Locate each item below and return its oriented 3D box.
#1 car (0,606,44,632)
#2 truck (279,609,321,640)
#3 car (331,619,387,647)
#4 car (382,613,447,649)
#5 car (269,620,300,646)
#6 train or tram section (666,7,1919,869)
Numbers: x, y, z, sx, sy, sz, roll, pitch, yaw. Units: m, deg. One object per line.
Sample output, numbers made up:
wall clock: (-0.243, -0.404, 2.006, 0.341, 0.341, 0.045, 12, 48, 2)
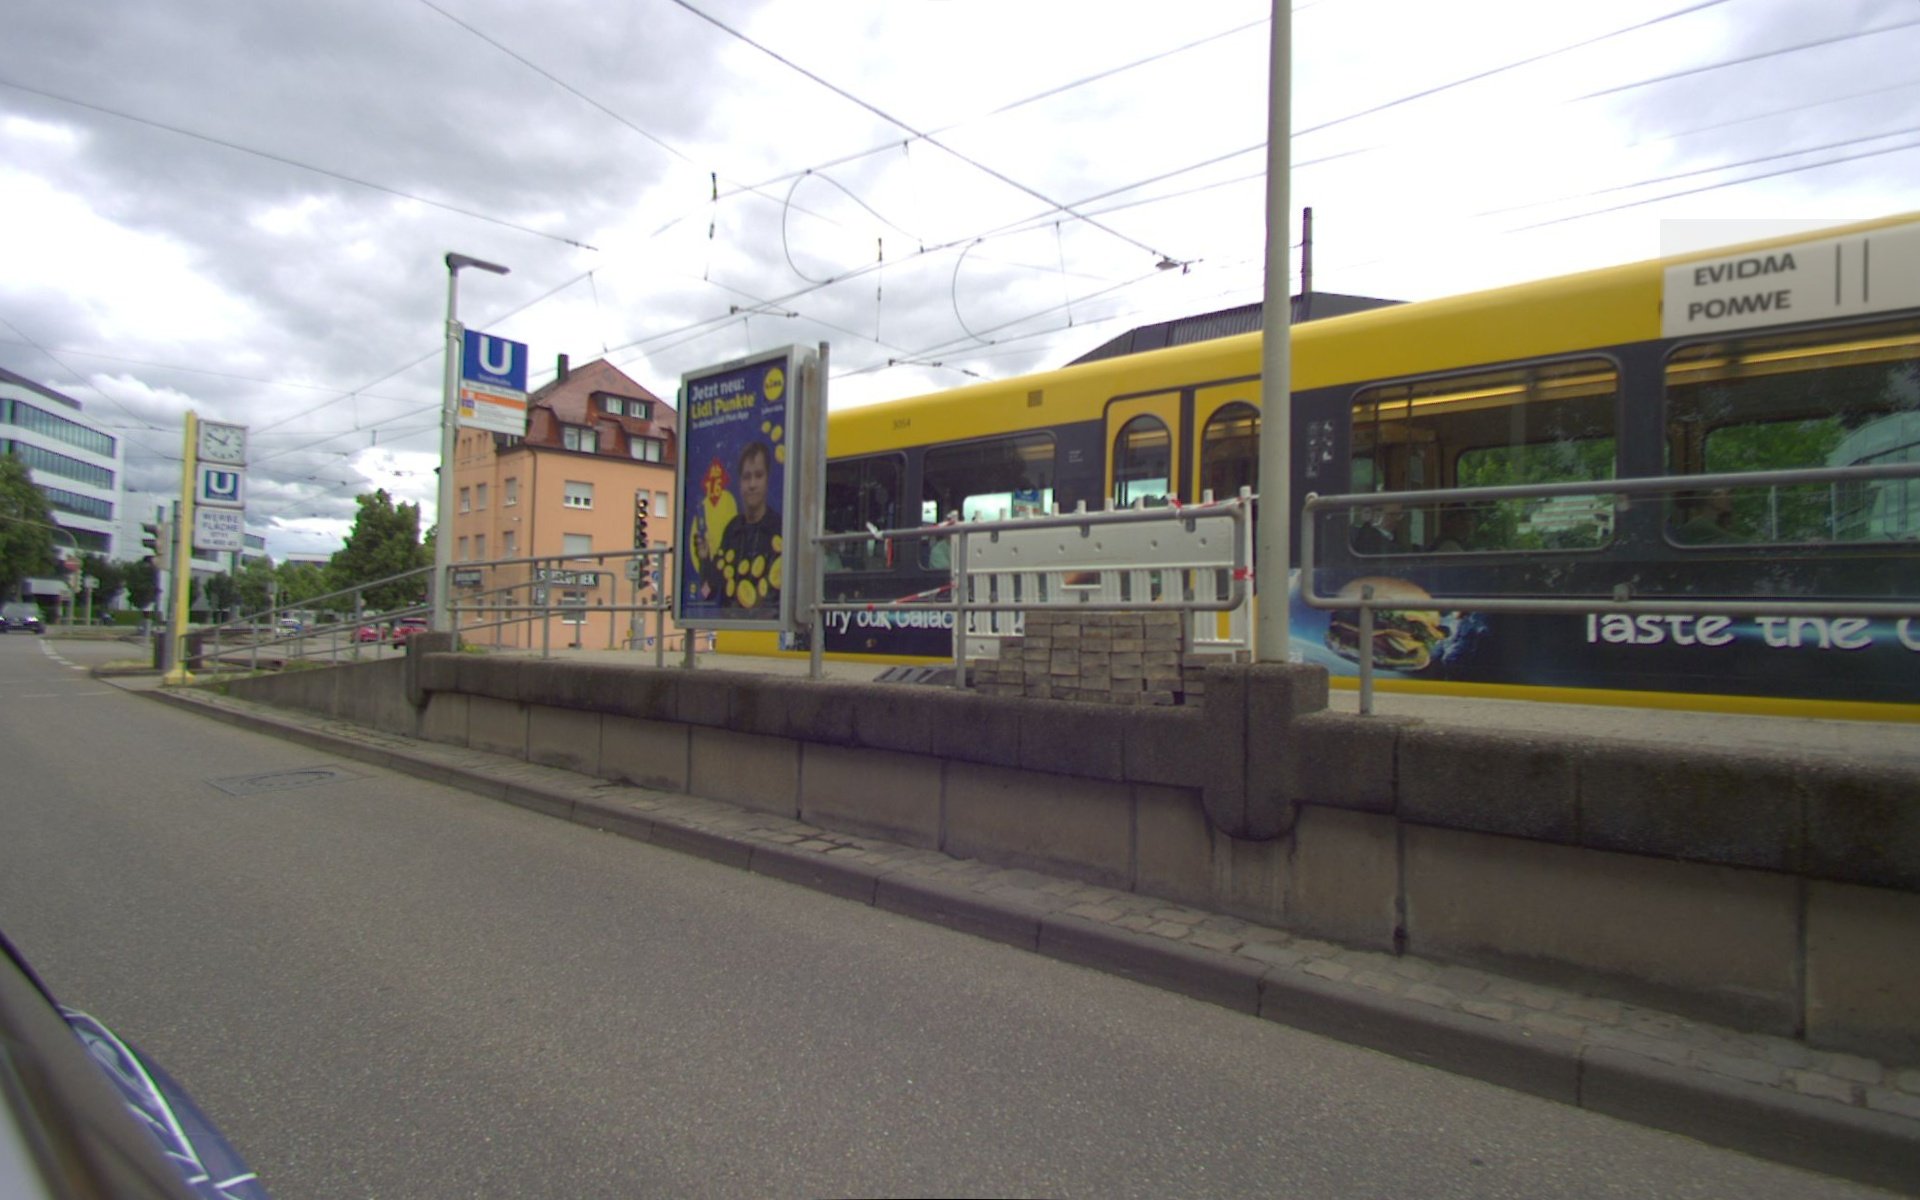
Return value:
car: (-50.007, 0.996, 53.679, 1.601, 1.342, 3.182, 2, -2, -34)
truck: (-56.709, 2.108, 87.095, 2.281, 2.440, 5.672, 4, -3, -27)
car: (-39.146, 2.142, 65.893, 3.992, 1.536, 1.683, 4, 1, 35)
car: (-25.536, 1.422, 47.492, 1.738, 1.541, 3.750, 3, -1, -14)
car: (-51.586, 2.536, 77.266, 1.574, 1.430, 3.380, -6, -5, -39)
train or tram section: (2.136, -0.630, 8.443, 11.904, 3.997, 2.712, -2, -3, 41)
